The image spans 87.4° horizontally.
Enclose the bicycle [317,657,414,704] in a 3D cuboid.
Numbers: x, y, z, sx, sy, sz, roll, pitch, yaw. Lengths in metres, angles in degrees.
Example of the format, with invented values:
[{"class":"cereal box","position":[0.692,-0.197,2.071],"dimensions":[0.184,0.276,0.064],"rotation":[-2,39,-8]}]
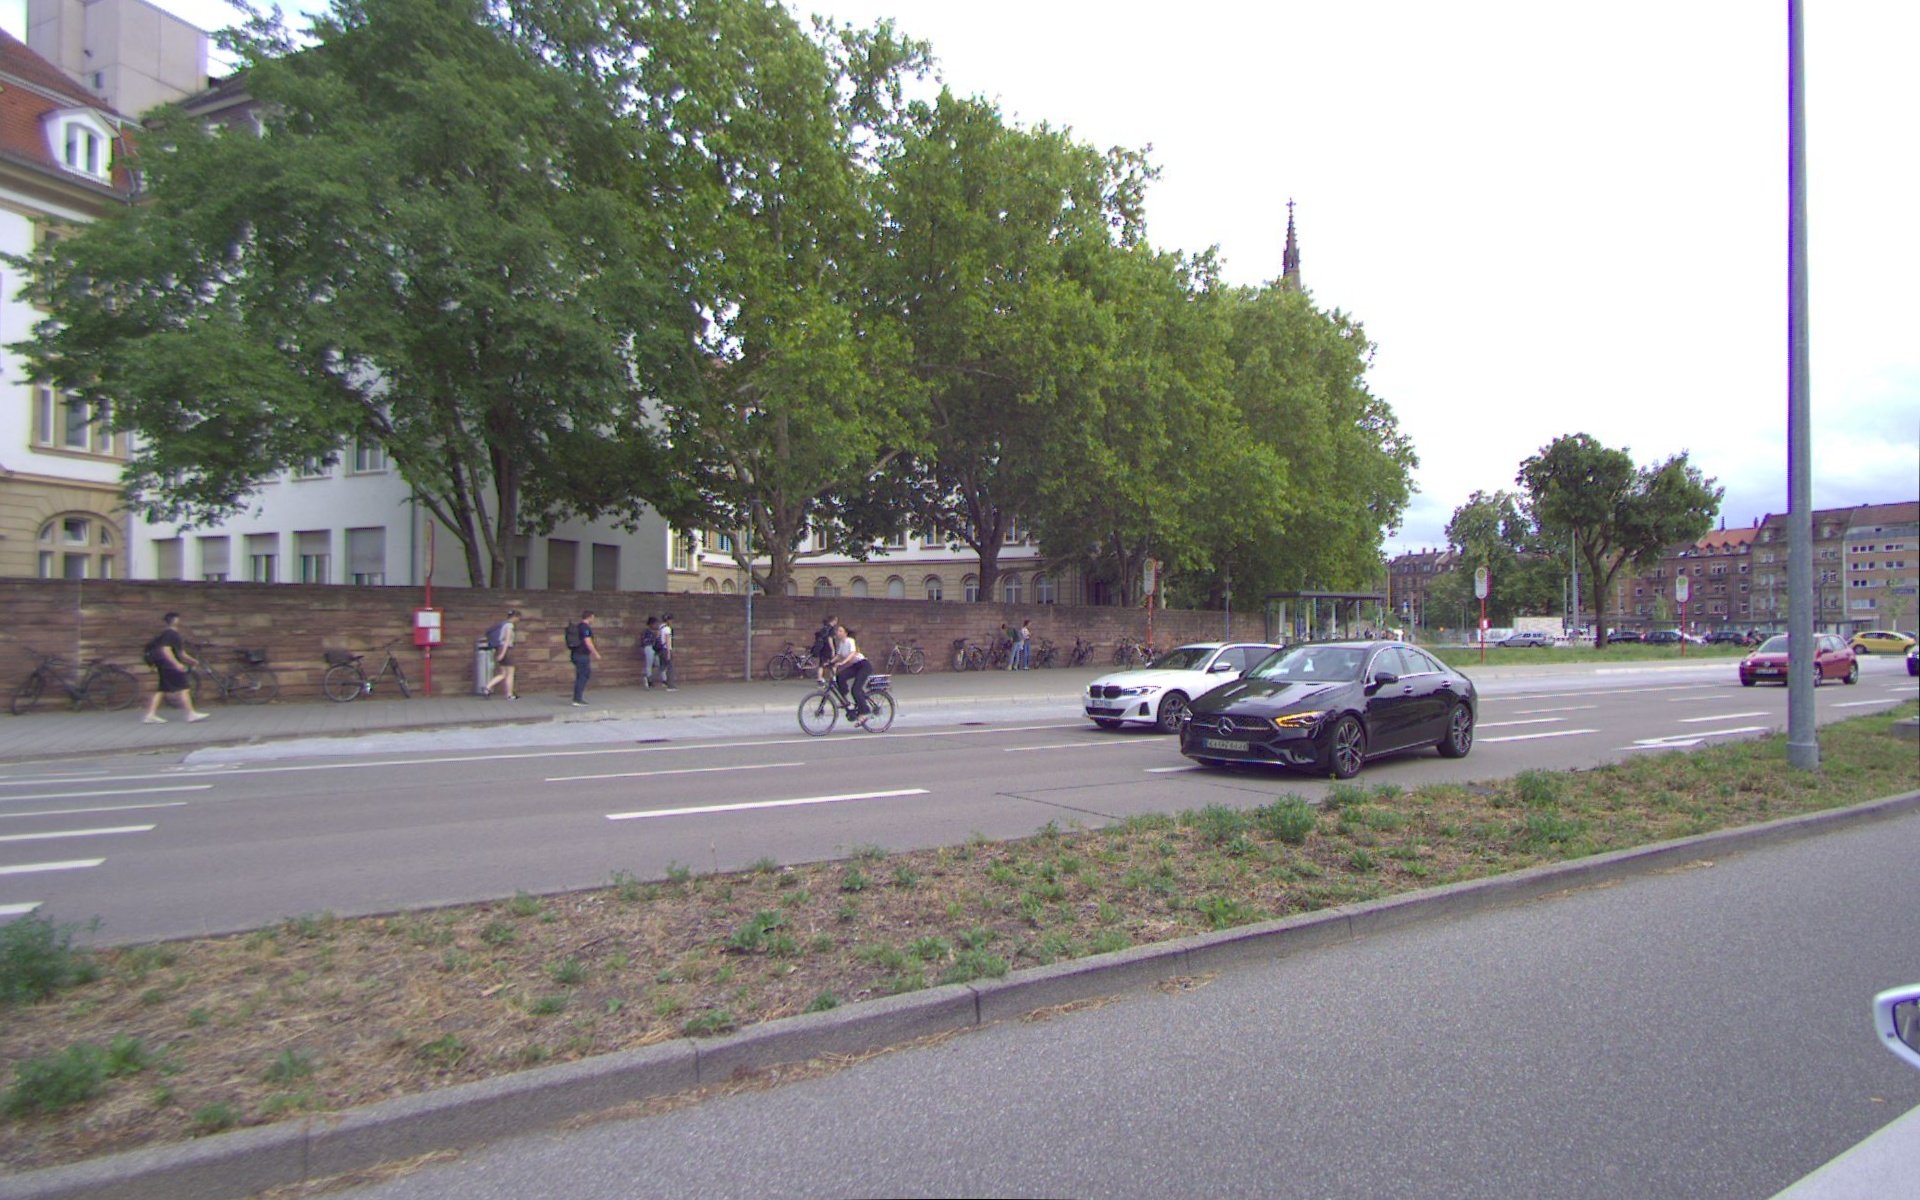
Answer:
[{"class":"bicycle","position":[-11.763,1.574,19.904],"dimensions":[1.607,0.807,0.437],"rotation":[0,1,-40]}]

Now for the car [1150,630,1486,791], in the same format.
[{"class":"car","position":[4.280,1.109,11.667],"dimensions":[4.371,1.509,1.786],"rotation":[1,-2,-41]}]

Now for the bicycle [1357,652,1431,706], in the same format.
[{"class":"bicycle","position":[10.207,1.829,23.595],"dimensions":[1.942,1.186,0.579],"rotation":[1,-1,-31]}]

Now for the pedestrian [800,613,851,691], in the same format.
[{"class":"pedestrian","position":[-3.180,1.230,23.865],"dimensions":[0.748,1.806,0.922],"rotation":[0,-2,31]}]

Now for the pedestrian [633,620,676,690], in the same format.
[{"class":"pedestrian","position":[-7.202,1.285,23.673],"dimensions":[0.578,1.613,0.733],"rotation":[0,-2,37]}]

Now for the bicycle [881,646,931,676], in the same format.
[{"class":"bicycle","position":[-1.585,1.792,29.811],"dimensions":[0.436,0.838,1.612],"rotation":[2,0,42]}]

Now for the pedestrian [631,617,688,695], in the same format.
[{"class":"pedestrian","position":[-6.784,1.252,22.668],"dimensions":[0.748,1.693,0.922],"rotation":[0,-2,31]}]

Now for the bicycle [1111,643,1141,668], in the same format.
[{"class":"bicycle","position":[6.505,2.164,39.419],"dimensions":[0.475,0.919,1.615],"rotation":[-1,-2,36]}]

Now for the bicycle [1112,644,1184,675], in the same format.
[{"class":"bicycle","position":[5.769,1.815,30.800],"dimensions":[2.305,0.931,0.469],"rotation":[1,-1,-23]}]

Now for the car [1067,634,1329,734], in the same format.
[{"class":"car","position":[4.128,1.348,17.246],"dimensions":[4.363,1.509,1.793],"rotation":[1,-2,-30]}]

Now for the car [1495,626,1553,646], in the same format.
[{"class":"car","position":[48.705,3.128,86.820],"dimensions":[1.631,1.671,4.126],"rotation":[1,-2,-35]}]

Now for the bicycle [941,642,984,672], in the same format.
[{"class":"bicycle","position":[0.077,1.779,31.638],"dimensions":[0.411,0.890,1.547],"rotation":[2,0,42]}]

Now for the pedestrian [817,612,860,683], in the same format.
[{"class":"pedestrian","position":[-3.120,1.216,25.885],"dimensions":[0.748,1.806,0.782],"rotation":[0,-2,31]}]

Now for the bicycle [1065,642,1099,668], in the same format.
[{"class":"bicycle","position":[4.476,2.007,36.723],"dimensions":[0.435,0.890,1.614],"rotation":[2,0,38]}]

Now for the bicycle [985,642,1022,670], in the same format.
[{"class":"bicycle","position":[1.444,1.842,33.130],"dimensions":[0.343,0.890,1.514],"rotation":[2,0,42]}]

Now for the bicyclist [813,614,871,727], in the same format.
[{"class":"bicyclist","position":[-1.948,1.144,16.604],"dimensions":[0.800,1.806,0.616],"rotation":[1,-1,-26]}]

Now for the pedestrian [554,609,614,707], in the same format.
[{"class":"pedestrian","position":[-7.162,1.096,19.143],"dimensions":[0.749,1.806,0.719],"rotation":[0,-2,36]}]

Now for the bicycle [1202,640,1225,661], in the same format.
[{"class":"bicycle","position":[11.769,2.348,46.639],"dimensions":[0.474,0.919,1.615],"rotation":[2,0,35]}]

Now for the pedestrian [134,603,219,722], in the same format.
[{"class":"pedestrian","position":[-12.358,0.968,15.848],"dimensions":[0.748,1.806,0.782],"rotation":[0,-2,31]}]

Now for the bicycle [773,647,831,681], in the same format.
[{"class":"bicycle","position":[-4.234,1.698,26.970],"dimensions":[0.436,0.838,1.612],"rotation":[2,0,42]}]

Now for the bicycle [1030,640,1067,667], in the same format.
[{"class":"bicycle","position":[3.094,1.859,35.017],"dimensions":[0.435,0.890,1.614],"rotation":[2,0,38]}]

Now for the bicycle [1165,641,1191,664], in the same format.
[{"class":"bicycle","position":[9.387,2.264,43.191],"dimensions":[0.474,0.919,1.615],"rotation":[2,0,35]}]

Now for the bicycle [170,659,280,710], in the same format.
[{"class":"bicycle","position":[-13.487,1.540,18.462],"dimensions":[1.607,0.807,0.437],"rotation":[0,1,-40]}]

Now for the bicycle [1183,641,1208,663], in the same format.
[{"class":"bicycle","position":[10.563,2.307,45.043],"dimensions":[0.474,0.919,1.615],"rotation":[2,0,35]}]

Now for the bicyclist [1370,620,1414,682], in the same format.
[{"class":"bicyclist","position":[10.140,1.190,23.580],"dimensions":[0.802,1.437,0.577],"rotation":[1,-1,-31]}]

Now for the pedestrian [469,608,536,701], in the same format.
[{"class":"pedestrian","position":[-9.141,1.083,20.079],"dimensions":[0.748,1.806,0.913],"rotation":[0,-2,31]}]

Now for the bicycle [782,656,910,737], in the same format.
[{"class":"bicycle","position":[-1.879,1.572,16.621],"dimensions":[2.017,1.233,0.616],"rotation":[1,-1,-26]}]

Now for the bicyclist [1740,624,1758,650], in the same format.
[{"class":"bicyclist","position":[52.568,2.468,66.928],"dimensions":[0.567,1.665,0.781],"rotation":[1,-2,-35]}]

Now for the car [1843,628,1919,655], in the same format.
[{"class":"car","position":[58.352,2.584,63.274],"dimensions":[1.644,1.537,3.832],"rotation":[1,0,-34]}]

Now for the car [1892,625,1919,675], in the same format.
[{"class":"car","position":[34.644,1.724,35.177],"dimensions":[4.250,1.687,1.793],"rotation":[1,-4,-31]}]

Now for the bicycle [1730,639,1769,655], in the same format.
[{"class":"bicycle","position":[52.599,3.118,66.958],"dimensions":[0.624,0.995,1.952],"rotation":[1,-2,-34]}]

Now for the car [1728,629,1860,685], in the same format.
[{"class":"car","position":[24.377,1.599,29.319],"dimensions":[4.242,1.509,1.791],"rotation":[1,-2,-33]}]
